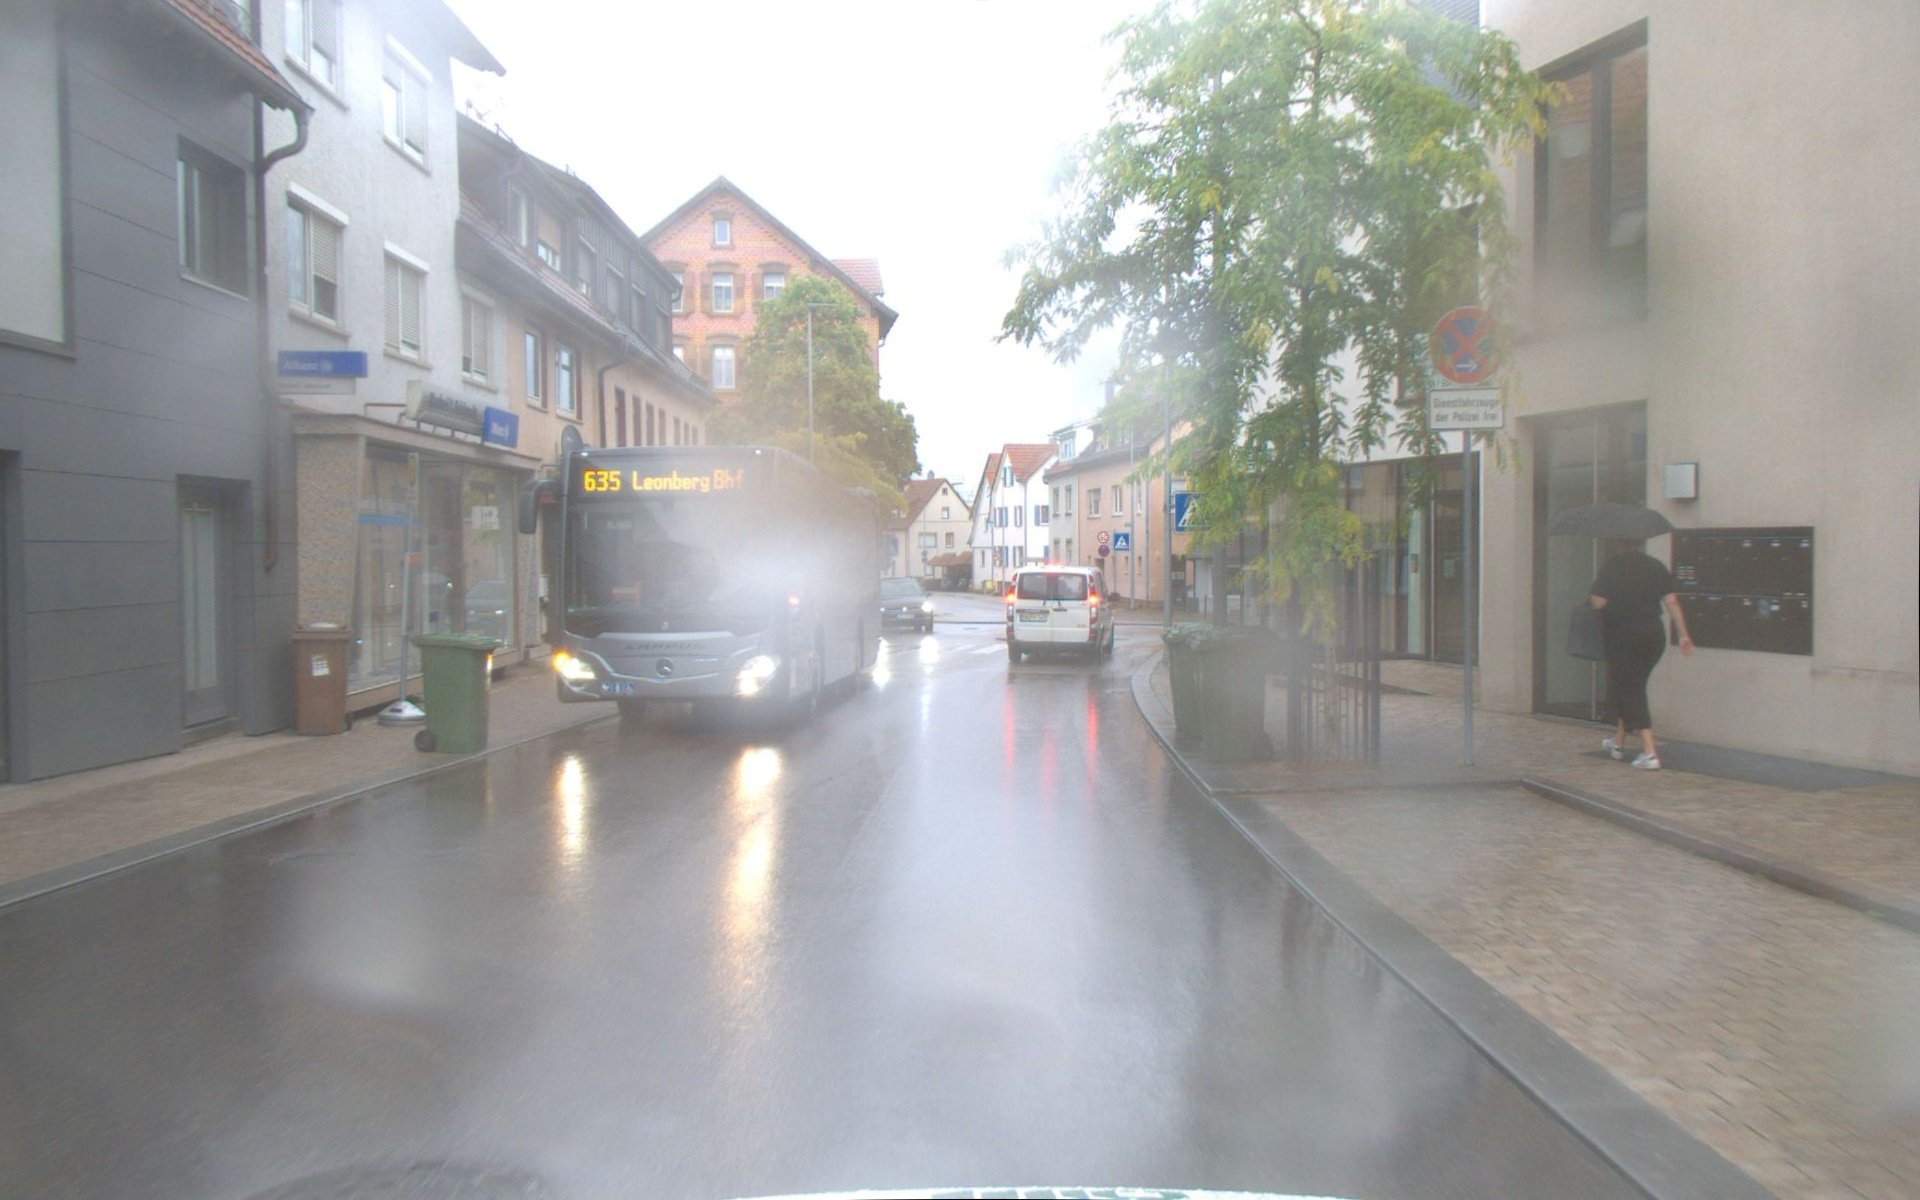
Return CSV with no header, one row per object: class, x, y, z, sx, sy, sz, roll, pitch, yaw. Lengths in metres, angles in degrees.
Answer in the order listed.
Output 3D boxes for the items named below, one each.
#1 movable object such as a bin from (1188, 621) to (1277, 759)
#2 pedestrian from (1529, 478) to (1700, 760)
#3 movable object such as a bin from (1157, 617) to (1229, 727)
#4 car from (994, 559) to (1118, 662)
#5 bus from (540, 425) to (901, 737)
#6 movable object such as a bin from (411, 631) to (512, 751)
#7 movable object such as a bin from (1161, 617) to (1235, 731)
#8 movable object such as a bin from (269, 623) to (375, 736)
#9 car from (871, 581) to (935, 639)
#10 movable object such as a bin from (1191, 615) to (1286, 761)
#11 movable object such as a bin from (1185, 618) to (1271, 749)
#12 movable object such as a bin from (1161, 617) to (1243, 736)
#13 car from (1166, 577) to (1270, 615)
movable object such as a bin,2.439,0.800,14.865,0.736,1.191,0.631,-1,0,6
pedestrian,4.953,0.142,12.580,0.849,2.049,1.082,0,0,-2
movable object such as a bin,2.477,0.754,17.652,0.708,1.137,0.577,0,0,3
car,2.037,0.203,33.732,2.107,1.932,4.929,0,0,8
bus,-2.617,-0.261,22.170,2.666,3.133,10.951,0,1,3
movable object such as a bin,-4.647,0.838,15.459,0.725,1.078,0.726,1,0,-1
movable object such as a bin,2.452,0.751,17.066,0.708,1.137,0.577,0,0,3
movable object such as a bin,-6.352,0.781,16.503,0.776,1.078,0.701,1,0,-1
car,-1.619,0.248,47.828,1.750,1.534,4.468,0,1,-1
movable object such as a bin,2.346,0.736,14.001,0.736,1.191,0.631,-1,0,6
movable object such as a bin,2.507,0.774,15.531,0.736,1.191,0.631,-1,0,6
movable object such as a bin,2.399,0.748,16.453,0.745,1.137,0.624,0,0,3
car,10.865,-0.157,69.725,3.917,1.512,1.994,0,0,-12
